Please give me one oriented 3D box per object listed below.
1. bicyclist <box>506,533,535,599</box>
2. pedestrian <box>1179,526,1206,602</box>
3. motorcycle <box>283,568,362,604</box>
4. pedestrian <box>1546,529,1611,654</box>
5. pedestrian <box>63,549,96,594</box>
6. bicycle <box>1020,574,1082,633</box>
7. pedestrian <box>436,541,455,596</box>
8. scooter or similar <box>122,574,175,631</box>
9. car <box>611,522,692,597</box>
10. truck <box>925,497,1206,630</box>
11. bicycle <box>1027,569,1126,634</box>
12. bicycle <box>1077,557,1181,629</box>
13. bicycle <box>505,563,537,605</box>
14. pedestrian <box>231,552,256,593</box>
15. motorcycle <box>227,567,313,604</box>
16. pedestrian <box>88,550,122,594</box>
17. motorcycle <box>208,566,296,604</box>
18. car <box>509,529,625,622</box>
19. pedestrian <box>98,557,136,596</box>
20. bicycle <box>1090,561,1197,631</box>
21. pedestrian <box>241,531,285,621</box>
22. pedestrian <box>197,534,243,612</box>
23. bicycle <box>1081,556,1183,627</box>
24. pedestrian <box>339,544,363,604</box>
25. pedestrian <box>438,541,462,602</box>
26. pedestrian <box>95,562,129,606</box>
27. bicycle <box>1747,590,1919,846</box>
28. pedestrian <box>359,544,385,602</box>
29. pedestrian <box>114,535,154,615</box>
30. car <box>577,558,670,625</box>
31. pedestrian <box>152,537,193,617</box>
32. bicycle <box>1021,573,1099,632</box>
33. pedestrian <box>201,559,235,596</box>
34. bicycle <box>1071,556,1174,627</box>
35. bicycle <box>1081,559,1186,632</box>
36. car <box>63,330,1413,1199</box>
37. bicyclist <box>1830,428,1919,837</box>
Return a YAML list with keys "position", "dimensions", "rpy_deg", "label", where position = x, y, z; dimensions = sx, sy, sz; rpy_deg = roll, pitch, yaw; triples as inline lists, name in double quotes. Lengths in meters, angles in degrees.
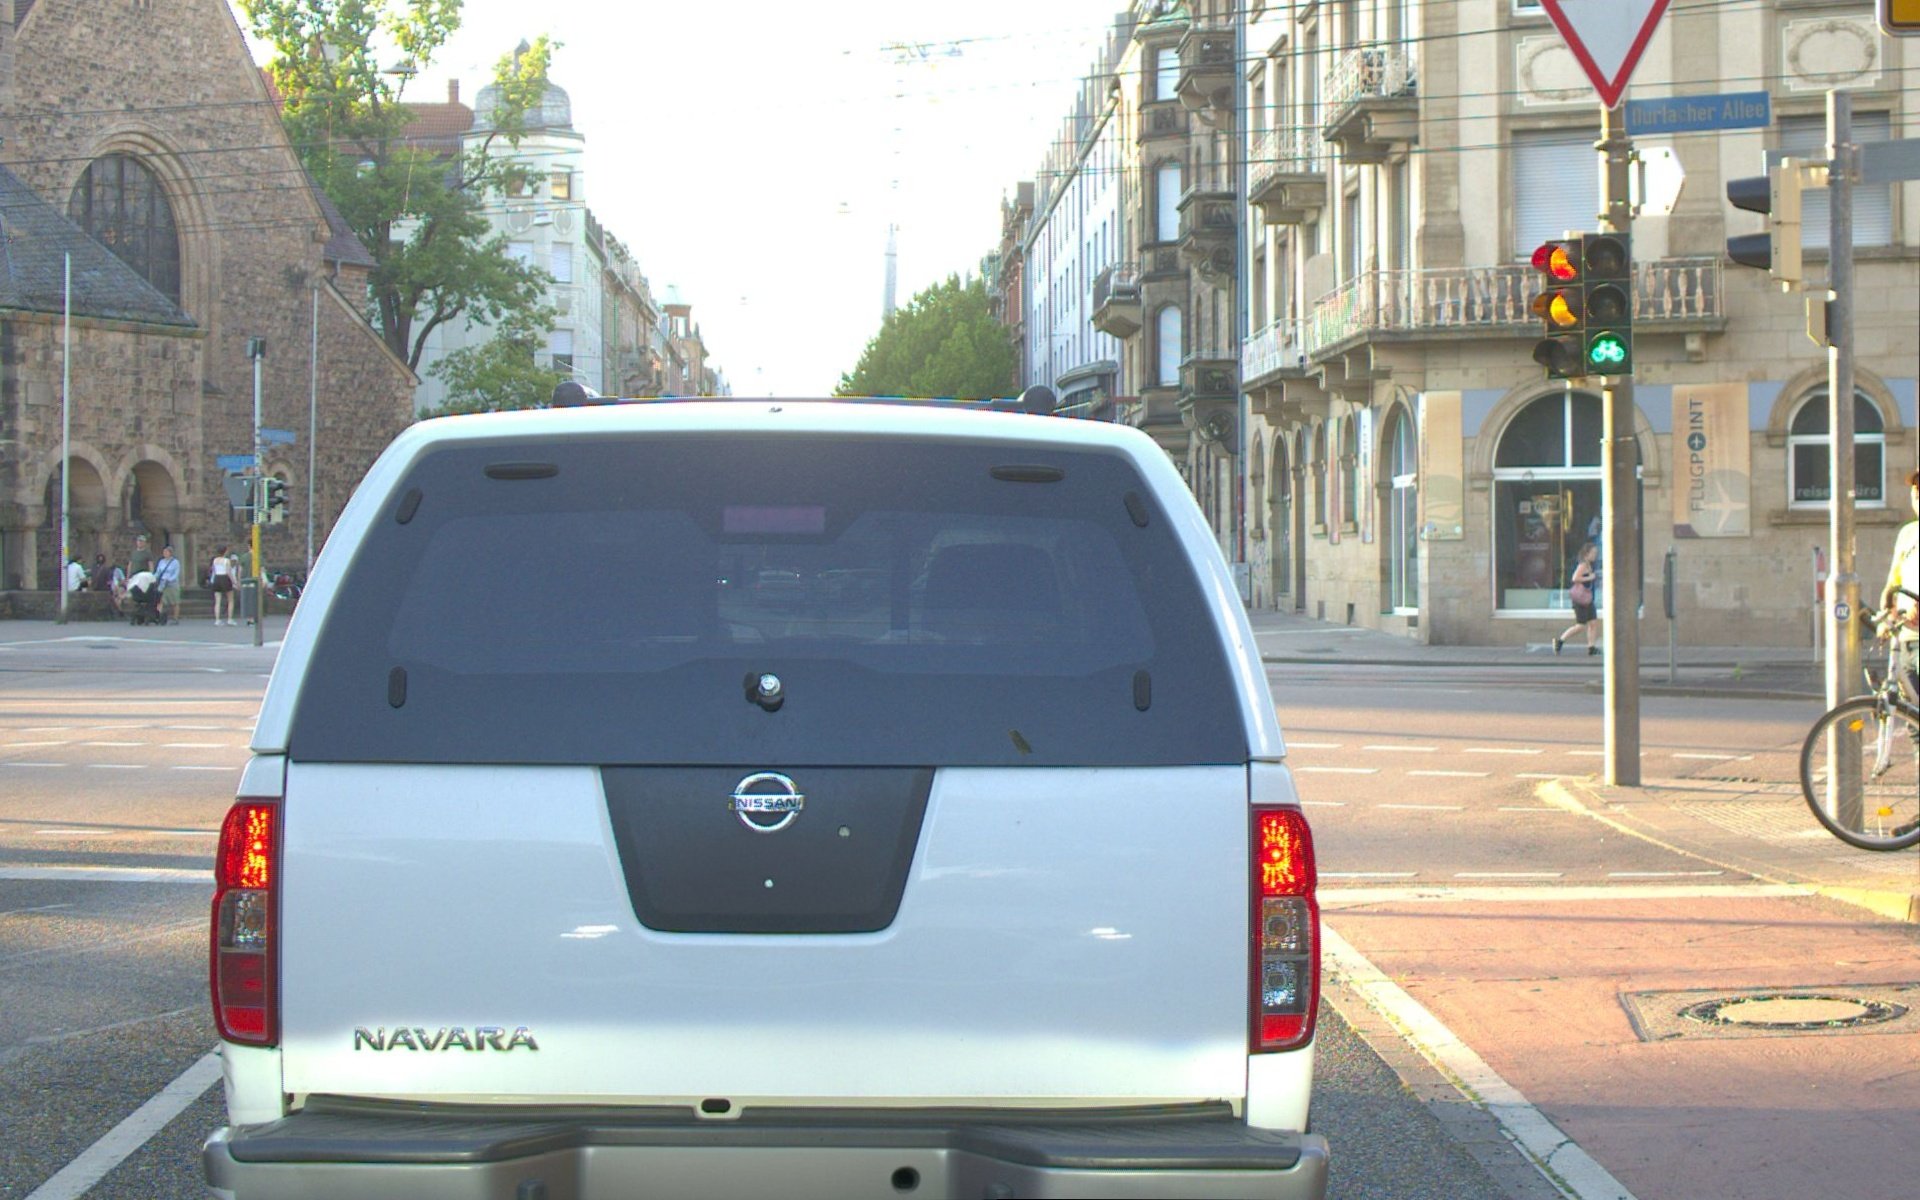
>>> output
- position: [-11.007, -0.860, 86.140]
  dimensions: [0.599, 1.639, 0.963]
  rpy_deg: [1, 0, 0]
  label: "bicyclist"
- position: [5.084, -0.777, 75.118]
  dimensions: [0.527, 1.648, 0.547]
  rpy_deg: [1, 0, -1]
  label: "pedestrian"
- position: [-17.811, -0.394, 96.023]
  dimensions: [2.167, 0.984, 0.593]
  rpy_deg: [1, 0, 19]
  label: "motorcycle"
- position: [8.864, -0.128, 49.241]
  dimensions: [0.788, 1.773, 0.543]
  rpy_deg: [1, 0, 25]
  label: "pedestrian"
- position: [-19.203, -0.621, 74.979]
  dimensions: [0.522, 0.957, 0.479]
  rpy_deg: [1, 0, 19]
  label: "pedestrian"
- position: [1.685, 0.068, 63.594]
  dimensions: [1.076, 1.021, 0.317]
  rpy_deg: [-3, 0, -2]
  label: "bicycle"
- position: [-15.960, -0.965, 106.678]
  dimensions: [0.560, 1.690, 0.645]
  rpy_deg: [1, 0, -8]
  label: "pedestrian"
- position: [-17.061, 0.049, 72.315]
  dimensions: [0.634, 1.099, 1.078]
  rpy_deg: [-1, 5, 12]
  label: "scooter or similar"
- position: [-8.746, -1.130, 97.737]
  dimensions: [1.993, 2.007, 4.950]
  rpy_deg: [-1, -1, -2]
  label: "car"
- position: [2.154, -0.718, 68.801]
  dimensions: [5.658, 2.556, 2.286]
  rpy_deg: [0, 1, -44]
  label: "truck"
- position: [2.120, 0.033, 62.711]
  dimensions: [1.726, 1.080, 0.317]
  rpy_deg: [-3, 0, -2]
  label: "bicycle"
- position: [3.136, -0.125, 63.897]
  dimensions: [1.817, 1.233, 0.478]
  rpy_deg: [-3, 0, -2]
  label: "bicycle"
- position: [-10.988, -0.407, 86.118]
  dimensions: [0.599, 1.040, 1.946]
  rpy_deg: [1, 0, -2]
  label: "bicycle"
- position: [-16.723, -0.640, 80.257]
  dimensions: [0.521, 0.957, 0.479]
  rpy_deg: [1, 0, -16]
  label: "pedestrian"
- position: [-18.808, -0.396, 93.734]
  dimensions: [2.243, 0.984, 0.708]
  rpy_deg: [1, 0, -6]
  label: "motorcycle"
- position: [-18.577, -0.612, 74.704]
  dimensions: [0.522, 0.957, 0.479]
  rpy_deg: [1, 0, 19]
  label: "pedestrian"
- position: [-18.879, -0.388, 91.707]
  dimensions: [2.243, 0.984, 0.708]
  rpy_deg: [1, 0, -6]
  label: "motorcycle"
- position: [-8.051, -0.535, 70.797]
  dimensions: [1.993, 1.778, 4.798]
  rpy_deg: [1, 1, -2]
  label: "car"
- position: [-21.128, -0.596, 86.161]
  dimensions: [0.708, 0.957, 0.553]
  rpy_deg: [1, 0, 26]
  label: "pedestrian"
- position: [3.319, -0.076, 62.246]
  dimensions: [1.817, 1.146, 0.636]
  rpy_deg: [-3, 0, -2]
  label: "bicycle"
- position: [-14.896, -0.514, 73.473]
  dimensions: [0.812, 1.894, 0.666]
  rpy_deg: [1, 0, -3]
  label: "pedestrian"
- position: [-15.818, -0.575, 73.493]
  dimensions: [0.812, 1.664, 0.860]
  rpy_deg: [1, 0, -3]
  label: "pedestrian"
- position: [3.228, -0.161, 64.623]
  dimensions: [1.817, 1.233, 0.412]
  rpy_deg: [-3, 0, -2]
  label: "bicycle"
- position: [-17.285, -0.738, 97.631]
  dimensions: [0.642, 1.690, 0.562]
  rpy_deg: [1, 0, -9]
  label: "pedestrian"
- position: [-15.700, -0.874, 105.840]
  dimensions: [0.642, 1.849, 0.562]
  rpy_deg: [1, 0, -15]
  label: "pedestrian"
- position: [-18.720, -0.344, 75.877]
  dimensions: [0.478, 0.957, 0.522]
  rpy_deg: [1, 0, 29]
  label: "pedestrian"
- position: [4.582, 0.521, 15.745]
  dimensions: [2.065, 1.106, 0.628]
  rpy_deg: [1, 0, -33]
  label: "bicycle"
- position: [-17.078, -0.786, 99.835]
  dimensions: [0.642, 1.690, 0.562]
  rpy_deg: [1, 0, -1]
  label: "pedestrian"
- position: [-17.639, -0.528, 73.439]
  dimensions: [0.634, 1.693, 0.603]
  rpy_deg: [1, 0, 7]
  label: "pedestrian"
- position: [-8.097, -0.221, 83.101]
  dimensions: [1.993, 1.552, 4.769]
  rpy_deg: [0, 1, -3]
  label: "car"
- position: [-16.784, -0.498, 73.279]
  dimensions: [0.634, 1.693, 0.602]
  rpy_deg: [1, 0, 10]
  label: "pedestrian"
- position: [1.869, 0.052, 64.306]
  dimensions: [1.371, 1.021, 0.317]
  rpy_deg: [-3, 0, -2]
  label: "bicycle"
- position: [-19.137, -0.582, 88.656]
  dimensions: [0.552, 0.957, 0.709]
  rpy_deg: [1, 0, 20]
  label: "pedestrian"
- position: [3.099, -0.165, 65.760]
  dimensions: [1.855, 1.233, 0.531]
  rpy_deg: [-3, 0, -2]
  label: "bicycle"
- position: [3.186, -0.083, 63.187]
  dimensions: [1.817, 1.233, 0.488]
  rpy_deg: [-3, 0, -2]
  label: "bicycle"
- position: [-0.357, 0.507, 7.130]
  dimensions: [1.993, 1.803, 4.000]
  rpy_deg: [1, 0, -1]
  label: "car"
- position: [4.451, 0.144, 15.645]
  dimensions: [0.696, 1.818, 0.628]
  rpy_deg: [1, 0, -33]
  label: "bicyclist"
